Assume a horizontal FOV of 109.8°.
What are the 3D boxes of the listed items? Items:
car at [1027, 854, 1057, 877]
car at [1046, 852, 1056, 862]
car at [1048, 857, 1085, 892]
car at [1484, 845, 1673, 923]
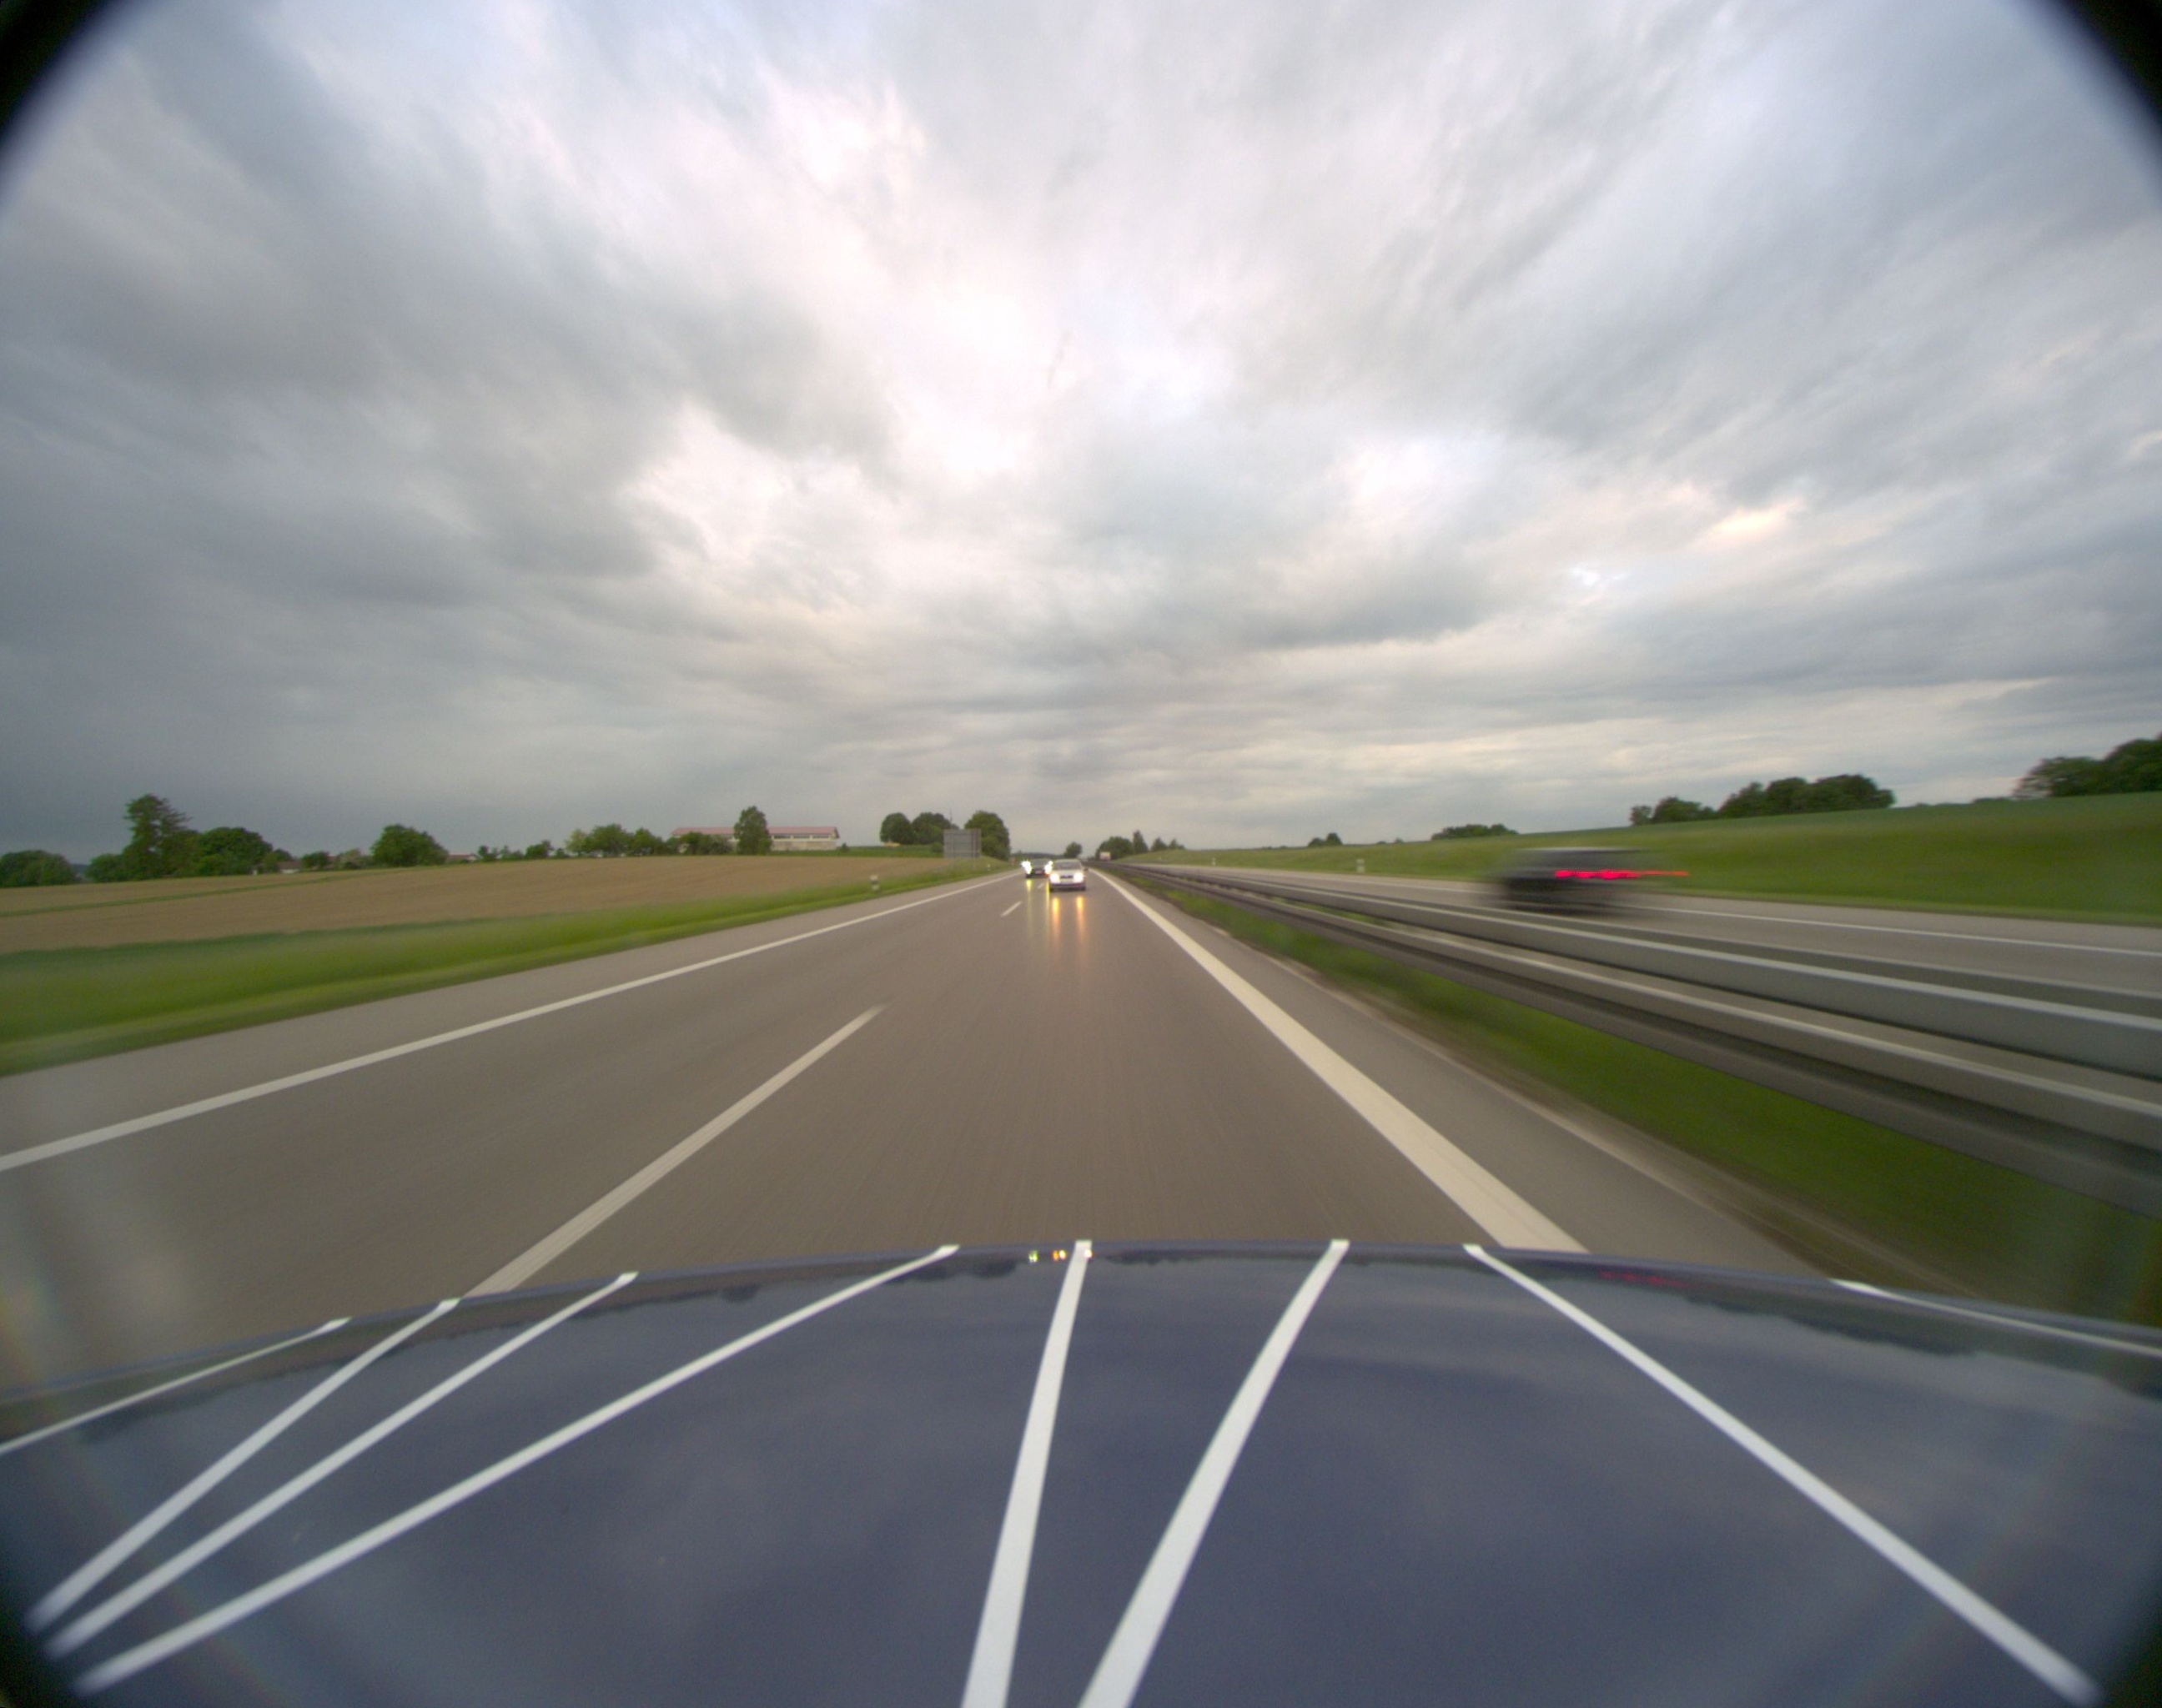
[{"bbox_3d":[-3.011,0.844,59.372,1.951,1.620,4.535,-1,1,1],"label":"car"},{"bbox_3d":[-5.382,0.515,136.718,1.807,1.619,3.902,-1,1,-3],"label":"car"},{"bbox_3d":[-0.658,0.885,34.788,1.592,1.381,4.600,0,1,-1],"label":"car"},{"bbox_3d":[12.224,0.656,19.095,1.702,1.654,4.462,-3,0,-1],"label":"car"}]
